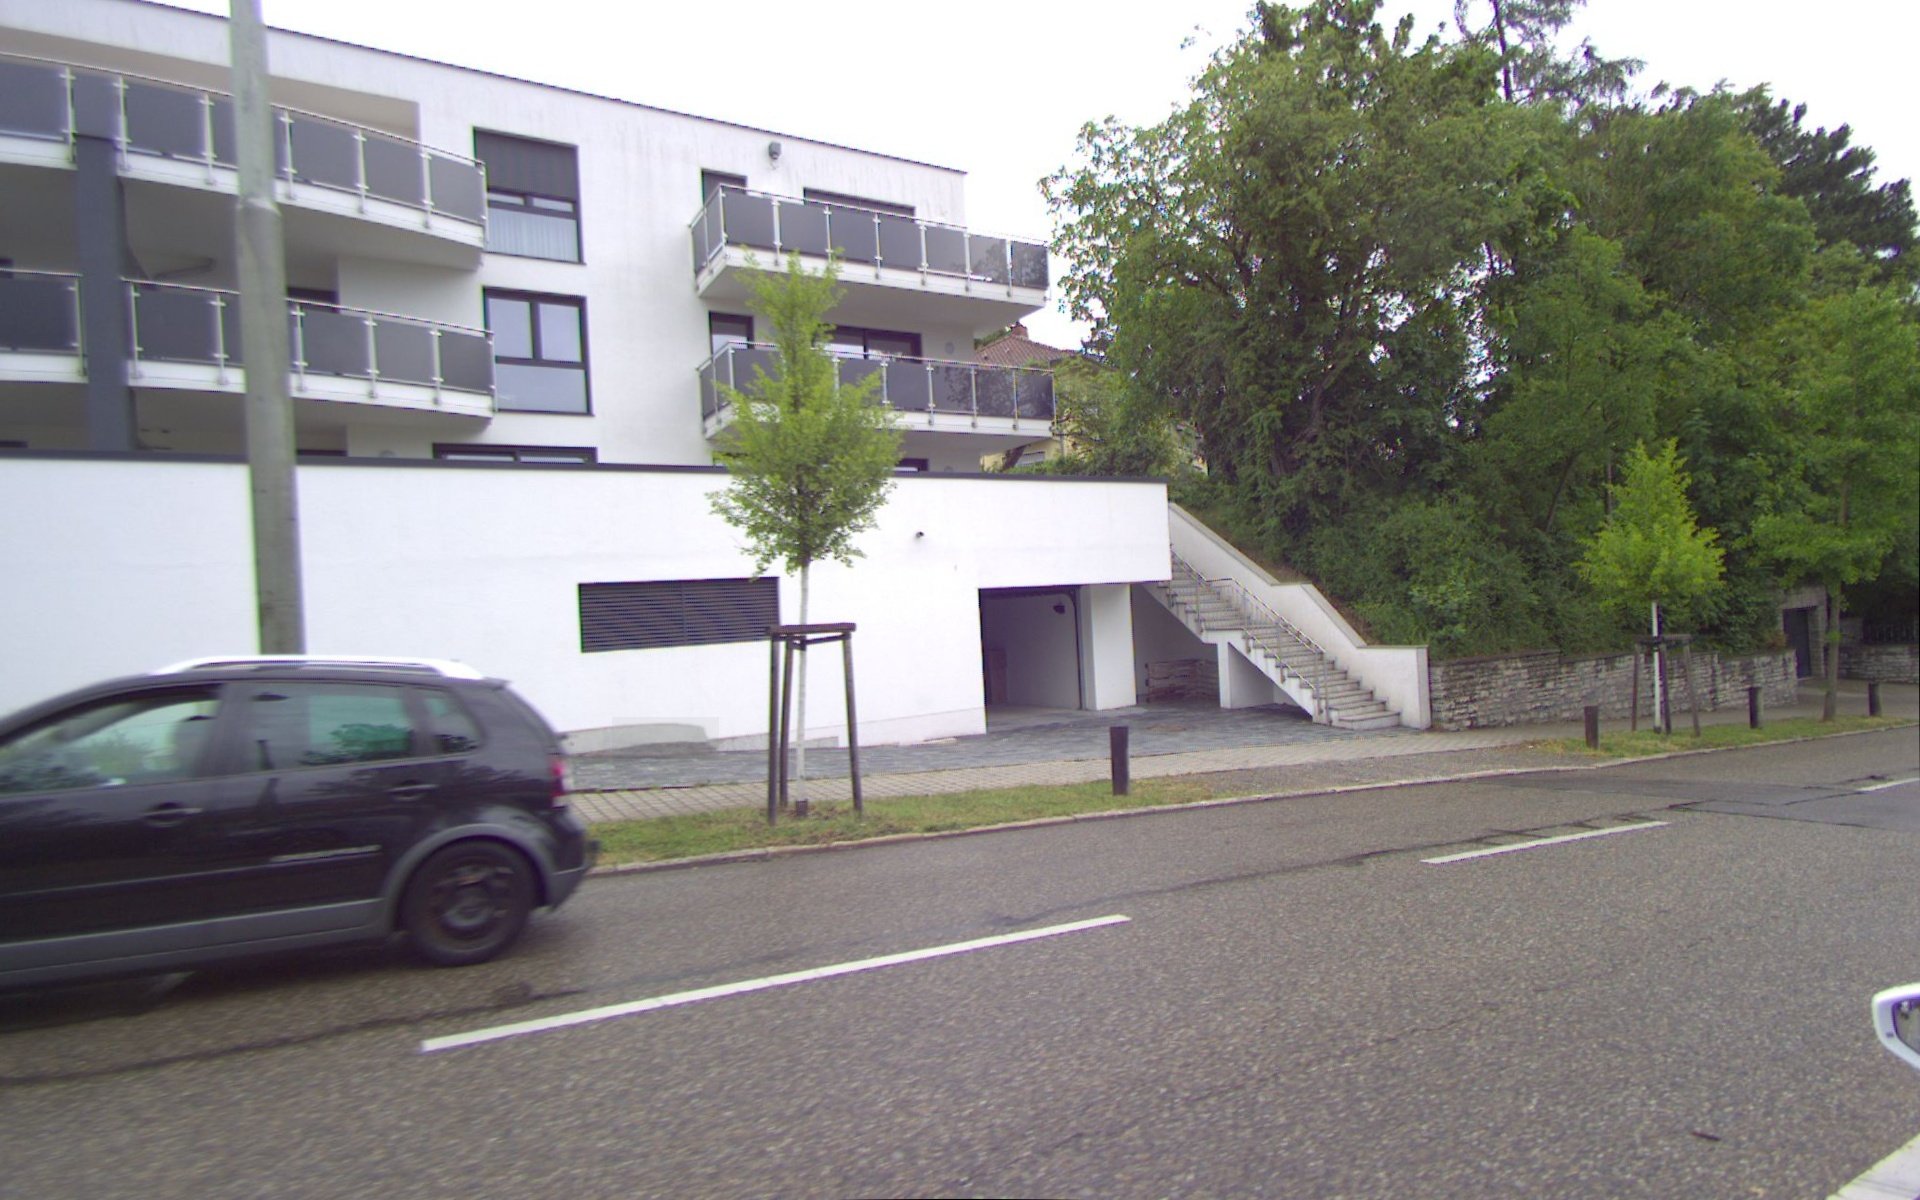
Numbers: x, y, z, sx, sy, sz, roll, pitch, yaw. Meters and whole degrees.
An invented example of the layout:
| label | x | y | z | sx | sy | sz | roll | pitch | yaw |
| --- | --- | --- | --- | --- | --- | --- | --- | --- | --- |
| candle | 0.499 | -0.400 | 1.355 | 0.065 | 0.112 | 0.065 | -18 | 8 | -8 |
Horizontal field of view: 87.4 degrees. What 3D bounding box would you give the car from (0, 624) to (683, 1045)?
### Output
| label | x | y | z | sx | sy | sz | roll | pitch | yaw |
| --- | --- | --- | --- | --- | --- | --- | --- | --- | --- |
| car | -3.512 | 0.966 | 4.873 | 3.874 | 1.569 | 1.737 | 2 | -5 | -32 |
